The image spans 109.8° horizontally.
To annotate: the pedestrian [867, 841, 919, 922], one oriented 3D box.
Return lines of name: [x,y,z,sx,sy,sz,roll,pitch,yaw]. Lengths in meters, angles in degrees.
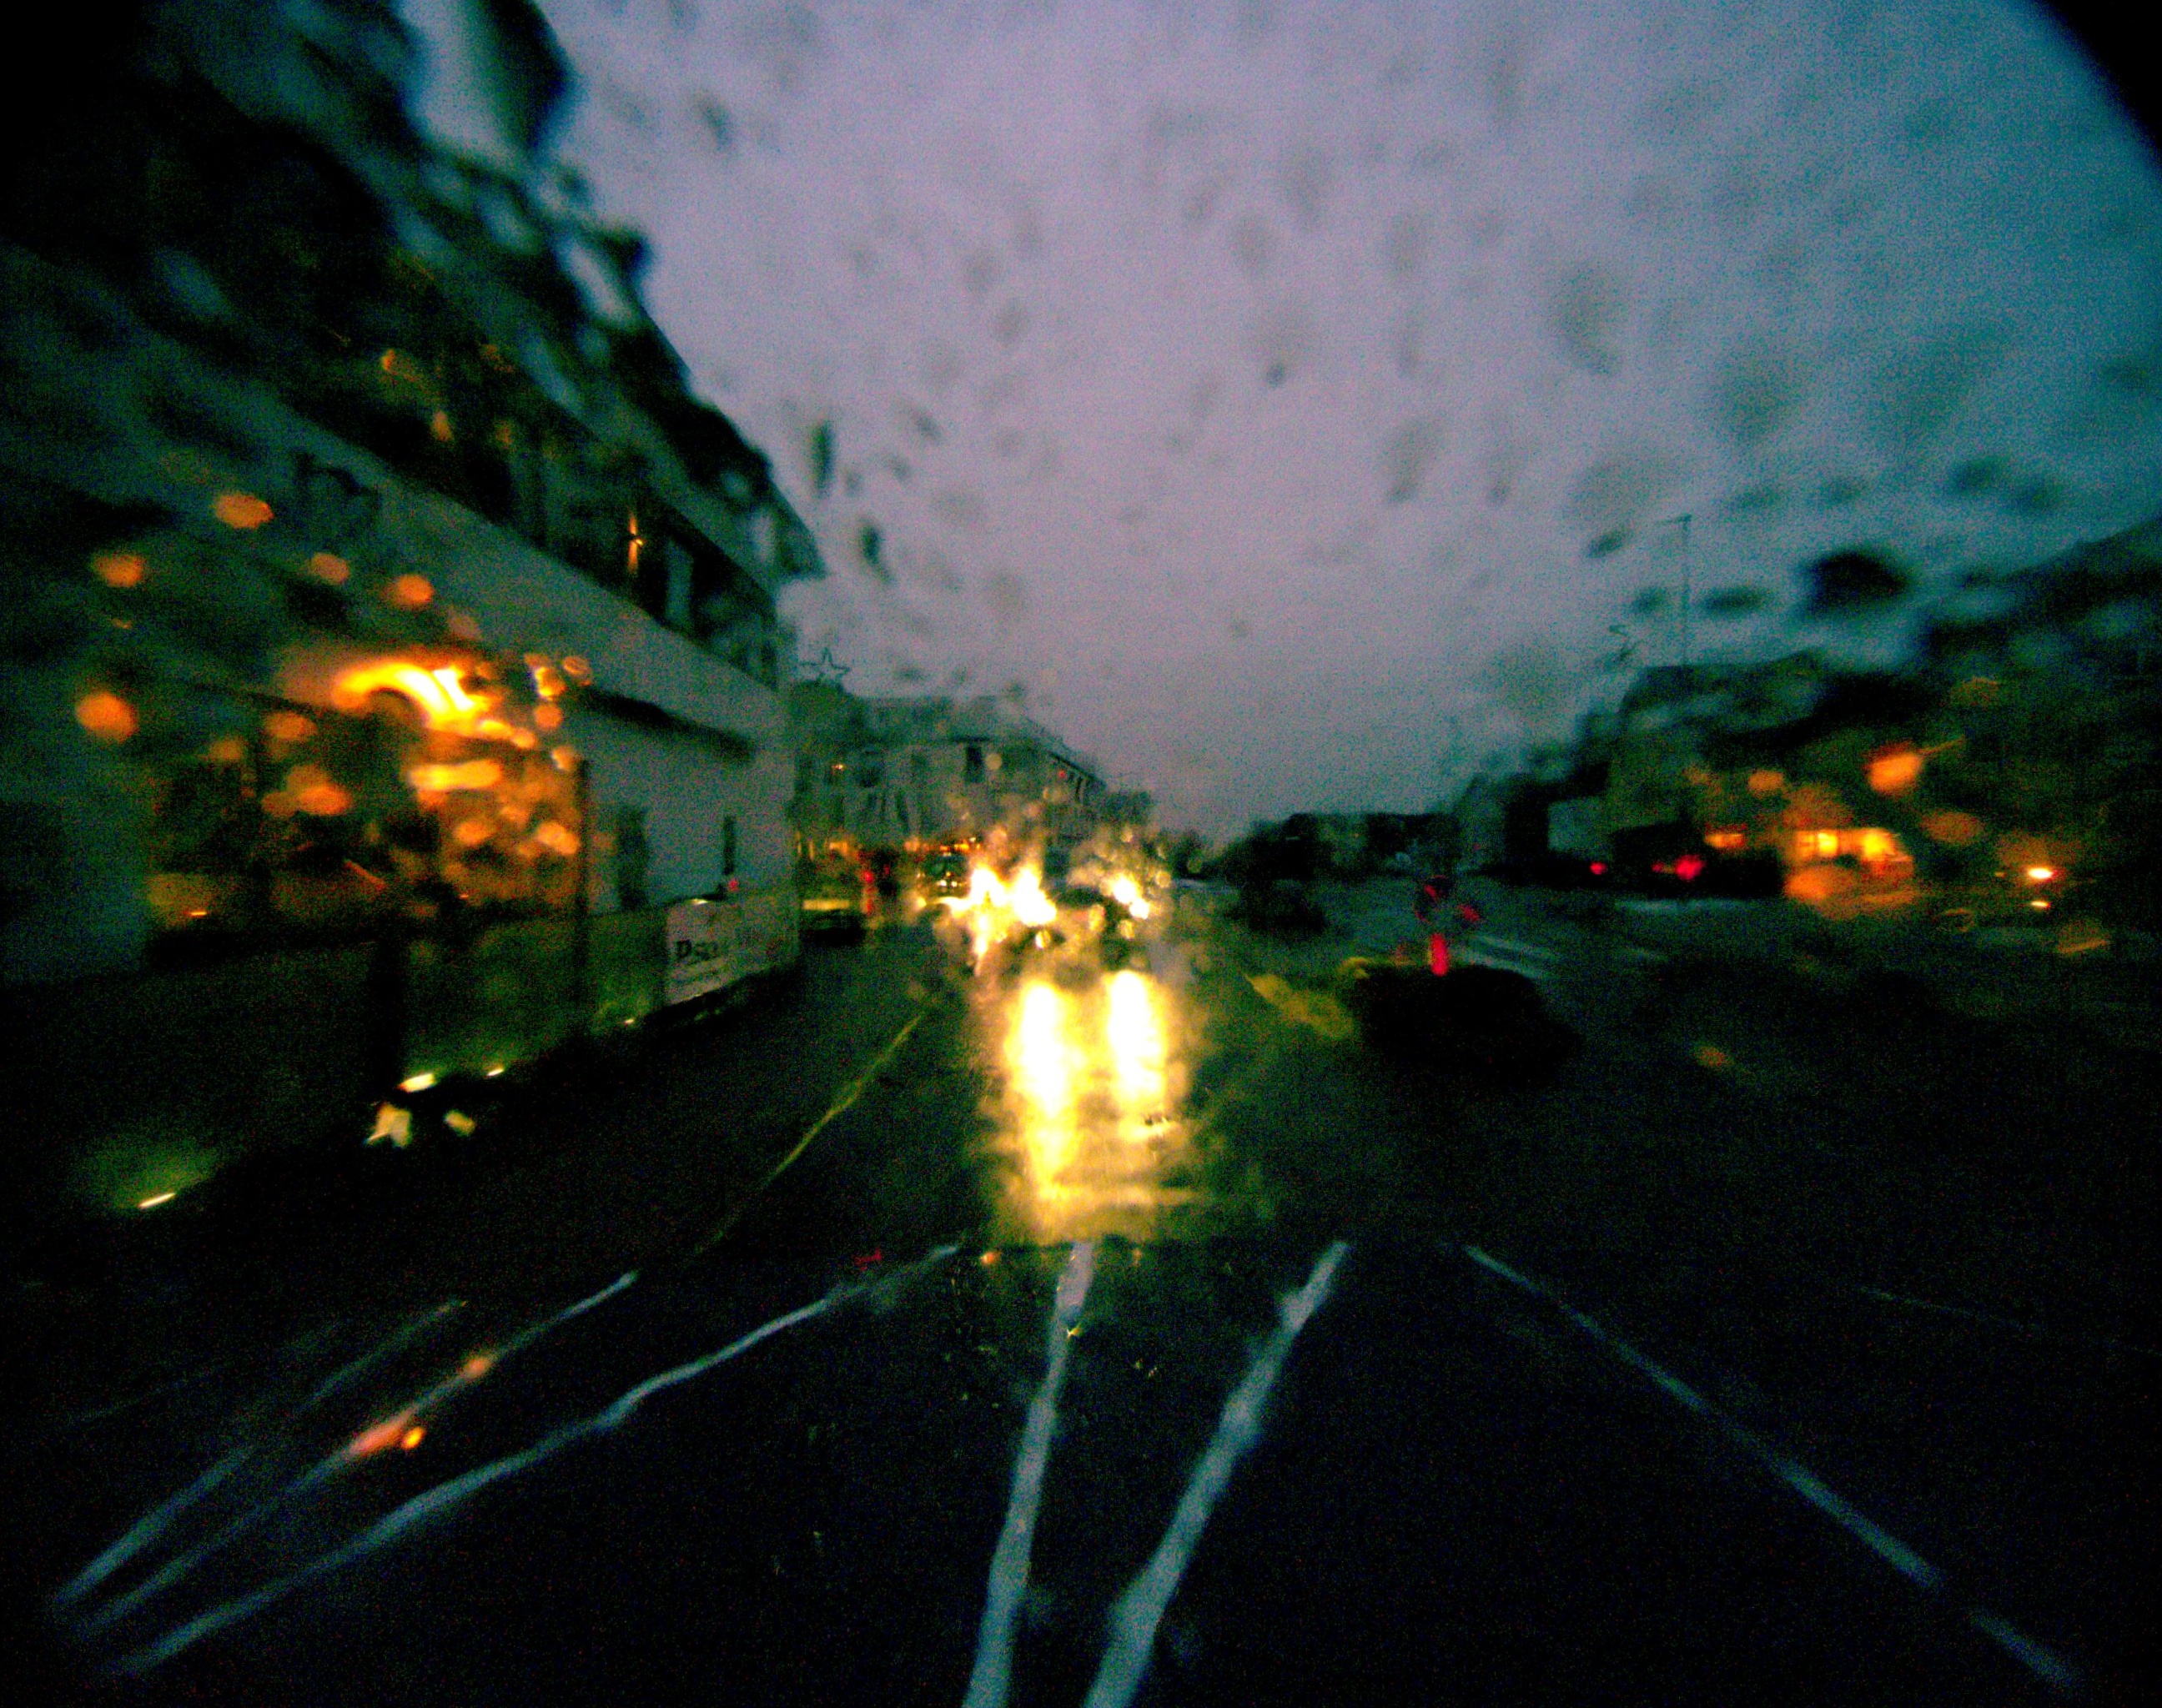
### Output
pedestrian: [-4.278,0.600,17.266,0.789,1.752,0.770,0,3,44]

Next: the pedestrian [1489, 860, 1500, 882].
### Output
pedestrian: [31.631,1.308,58.136,0.582,1.602,0.500,-2,2,6]

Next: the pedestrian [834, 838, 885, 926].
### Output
pedestrian: [-4.890,0.601,16.790,0.789,1.856,0.711,0,3,44]

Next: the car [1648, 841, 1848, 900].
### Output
car: [18.323,0.437,21.038,3.893,1.494,1.708,-1,1,6]

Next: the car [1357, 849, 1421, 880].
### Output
car: [22.035,0.695,54.508,1.974,1.984,3.991,-3,2,-25]

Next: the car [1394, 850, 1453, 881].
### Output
car: [24.712,0.808,54.957,1.926,2.002,3.966,-2,2,-13]

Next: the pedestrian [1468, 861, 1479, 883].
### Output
pedestrian: [29.516,1.343,57.193,0.582,1.602,0.500,-2,2,6]

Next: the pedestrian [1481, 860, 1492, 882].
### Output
pedestrian: [30.538,1.281,57.176,0.582,1.602,0.500,-2,2,6]

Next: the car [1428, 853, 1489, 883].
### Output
car: [27.382,0.979,55.267,1.936,1.871,3.866,-2,2,-13]

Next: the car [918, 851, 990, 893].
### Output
car: [-5.375,0.719,32.682,2.026,1.471,4.557,-2,2,3]

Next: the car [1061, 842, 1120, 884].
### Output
car: [0.379,0.312,30.862,2.172,1.469,3.999,-2,2,1]

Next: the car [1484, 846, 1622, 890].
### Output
car: [19.083,0.502,30.869,1.892,1.596,4.361,-4,3,-39]

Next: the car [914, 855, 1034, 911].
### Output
car: [-3.299,0.806,22.913,1.767,1.471,4.009,-3,2,-38]

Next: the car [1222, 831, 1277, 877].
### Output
car: [8.106,-0.049,36.206,2.055,1.976,4.542,-1,2,18]

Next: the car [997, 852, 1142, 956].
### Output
car: [-0.386,0.770,14.034,1.959,1.576,4.106,-1,0,-11]

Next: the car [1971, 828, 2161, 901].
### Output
car: [30.406,0.292,22.772,4.455,2.002,2.002,-1,2,18]
